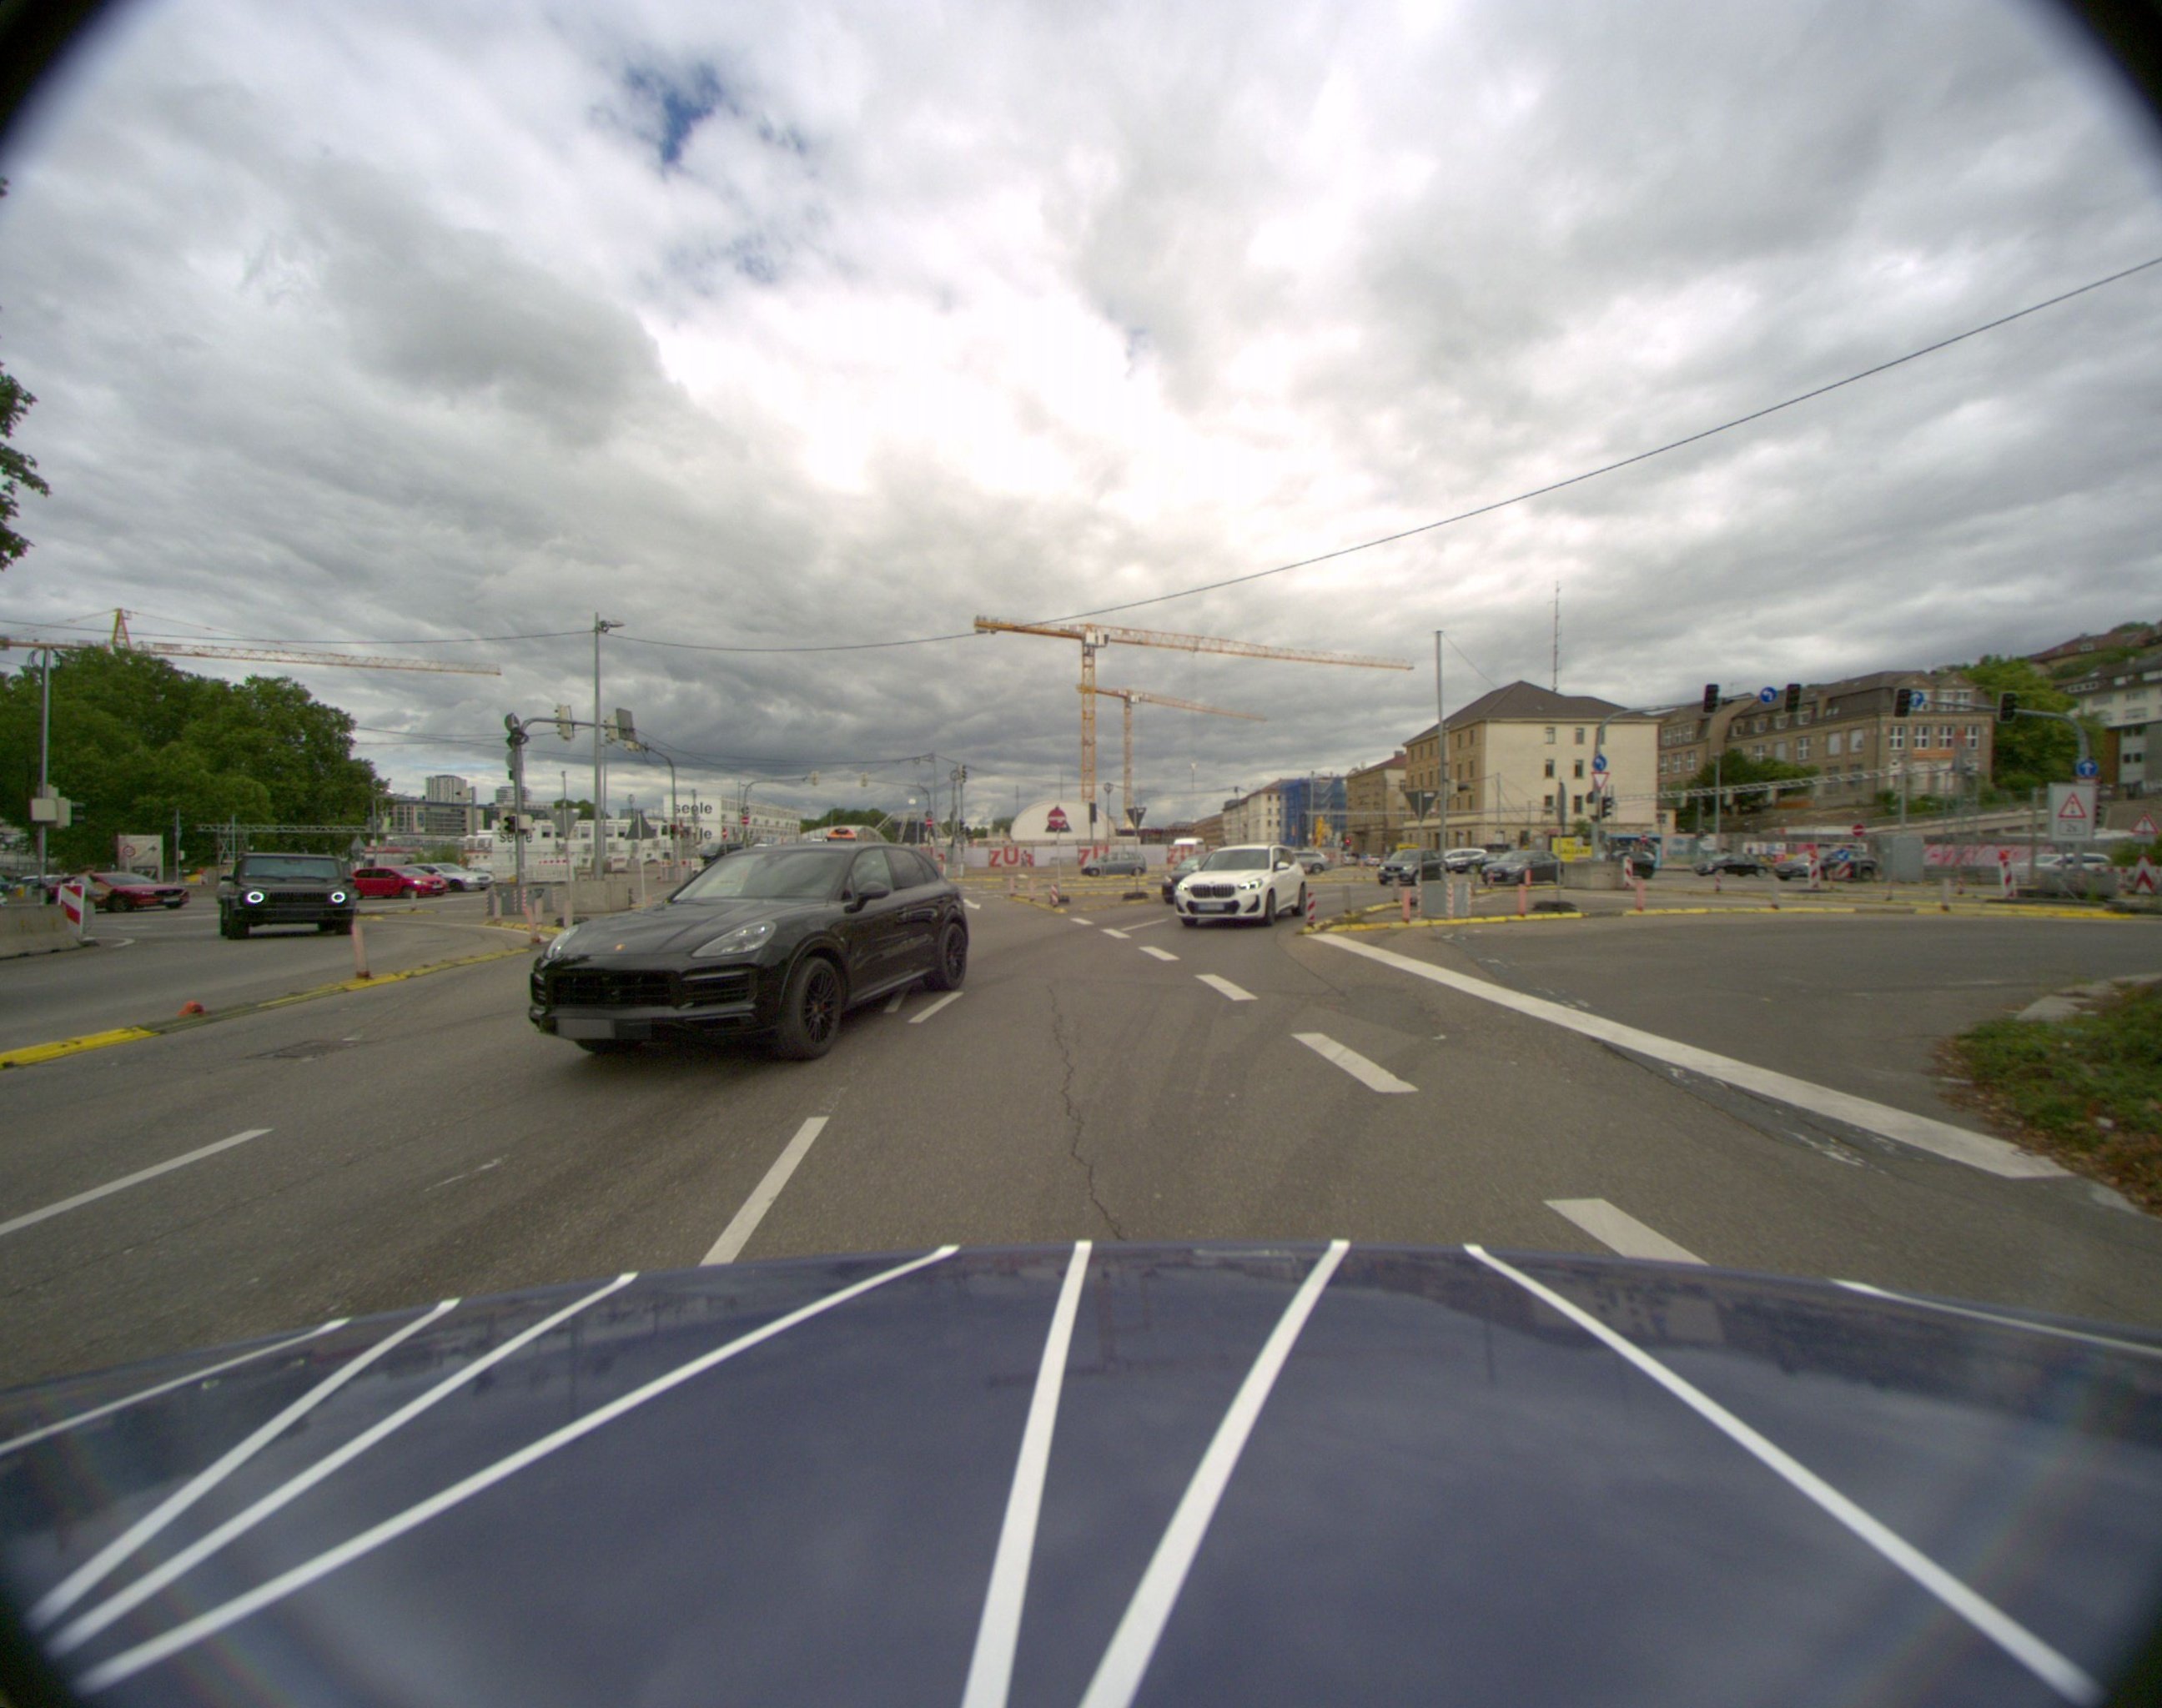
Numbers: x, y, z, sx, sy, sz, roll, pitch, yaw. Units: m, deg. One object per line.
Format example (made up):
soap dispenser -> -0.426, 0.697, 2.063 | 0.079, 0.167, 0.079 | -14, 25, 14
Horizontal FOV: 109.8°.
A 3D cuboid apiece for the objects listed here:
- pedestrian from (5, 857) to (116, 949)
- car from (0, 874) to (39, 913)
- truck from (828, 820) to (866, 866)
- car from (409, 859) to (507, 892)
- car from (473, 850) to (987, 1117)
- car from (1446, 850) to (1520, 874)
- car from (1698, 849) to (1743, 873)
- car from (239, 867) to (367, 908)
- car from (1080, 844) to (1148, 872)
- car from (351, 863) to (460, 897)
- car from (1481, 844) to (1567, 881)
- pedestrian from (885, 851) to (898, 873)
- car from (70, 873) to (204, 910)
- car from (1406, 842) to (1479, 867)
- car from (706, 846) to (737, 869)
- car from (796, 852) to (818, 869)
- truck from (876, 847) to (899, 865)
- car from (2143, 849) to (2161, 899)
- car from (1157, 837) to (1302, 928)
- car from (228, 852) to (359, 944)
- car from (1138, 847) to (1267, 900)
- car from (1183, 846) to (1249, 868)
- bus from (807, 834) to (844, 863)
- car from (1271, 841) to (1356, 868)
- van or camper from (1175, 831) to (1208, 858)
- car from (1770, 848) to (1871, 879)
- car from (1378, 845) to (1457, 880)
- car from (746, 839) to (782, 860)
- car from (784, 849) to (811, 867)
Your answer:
pedestrian -> -23.491, 1.078, 17.542 | 1.206, 2.002, 1.191 | -1, 1, -37
car -> -46.492, 1.698, 31.463 | 3.997, 1.560, 1.838 | -1, 2, 0
truck -> -20.191, -0.929, 65.588 | 2.913, 3.654, 9.012 | 0, 1, -17
car -> -30.577, 1.038, 37.352 | 3.443, 1.427, 1.694 | -1, 3, 3
car -> -2.587, 0.838, 7.108 | 1.954, 1.638, 4.612 | -2, -1, 12
car -> 25.181, 0.503, 47.684 | 3.699, 1.381, 1.729 | 1, 1, 6
car -> 40.218, 0.407, 47.751 | 1.871, 1.412, 4.113 | 0, 1, 44
car -> -31.903, 1.347, 31.232 | 3.444, 1.427, 1.665 | -2, 3, 1
car -> 1.975, 0.267, 46.726 | 3.953, 1.564, 1.692 | -2, -1, -4
car -> -30.541, 1.154, 34.409 | 3.443, 1.427, 1.691 | -1, 2, 3
car -> 18.658, 0.320, 31.941 | 4.113, 1.412, 1.849 | -2, 1, -40
pedestrian -> -14.319, 0.593, 57.370 | 0.851, 1.583, 0.622 | -1, 2, -19
car -> -38.742, 1.529, 31.249 | 3.444, 1.427, 1.665 | -1, 0, 1
car -> 23.956, 0.043, 50.469 | 4.068, 1.564, 1.693 | 1, -1, 0
car -> -31.966, 0.305, 67.603 | 2.002, 2.002, 3.994 | 1, 0, -18
car -> -24.674, 0.562, 68.429 | 1.653, 1.427, 3.613 | 0, 1, -16
truck -> -16.321, 0.165, 63.937 | 1.828, 1.531, 3.755 | 0, 0, -15
car -> 33.165, 0.569, 21.058 | 1.769, 1.495, 4.132 | 0, -1, 1
car -> 3.139, 0.498, 15.433 | 1.809, 1.595, 3.719 | -2, 0, 28
car -> -18.641, 1.000, 17.940 | 3.663, 1.926, 1.943 | -3, -2, 41
car -> 3.857, 0.541, 23.508 | 1.729, 1.461, 4.429 | 2, 1, 43
car -> 8.851, 0.175, 49.970 | 4.083, 1.407, 1.693 | 0, 0, 2
bus -> -28.643, -0.552, 85.637 | 2.814, 3.151, 9.392 | 0, 0, -12
car -> 14.358, 0.017, 47.059 | 4.680, 1.570, 1.910 | 0, 1, -2
van or camper -> 9.460, -0.822, 64.690 | 1.995, 2.215, 4.005 | 0, 2, 21
car -> 37.801, 0.467, 38.855 | 4.107, 1.412, 1.874 | -1, 1, -15
car -> 14.548, 0.351, 32.776 | 3.578, 1.411, 1.573 | 1, 1, -38
car -> -31.110, -0.398, 74.660 | 1.999, 2.002, 4.164 | 0, 0, -2
car -> -23.284, 0.287, 62.456 | 1.788, 1.427, 4.062 | 0, 1, -16
